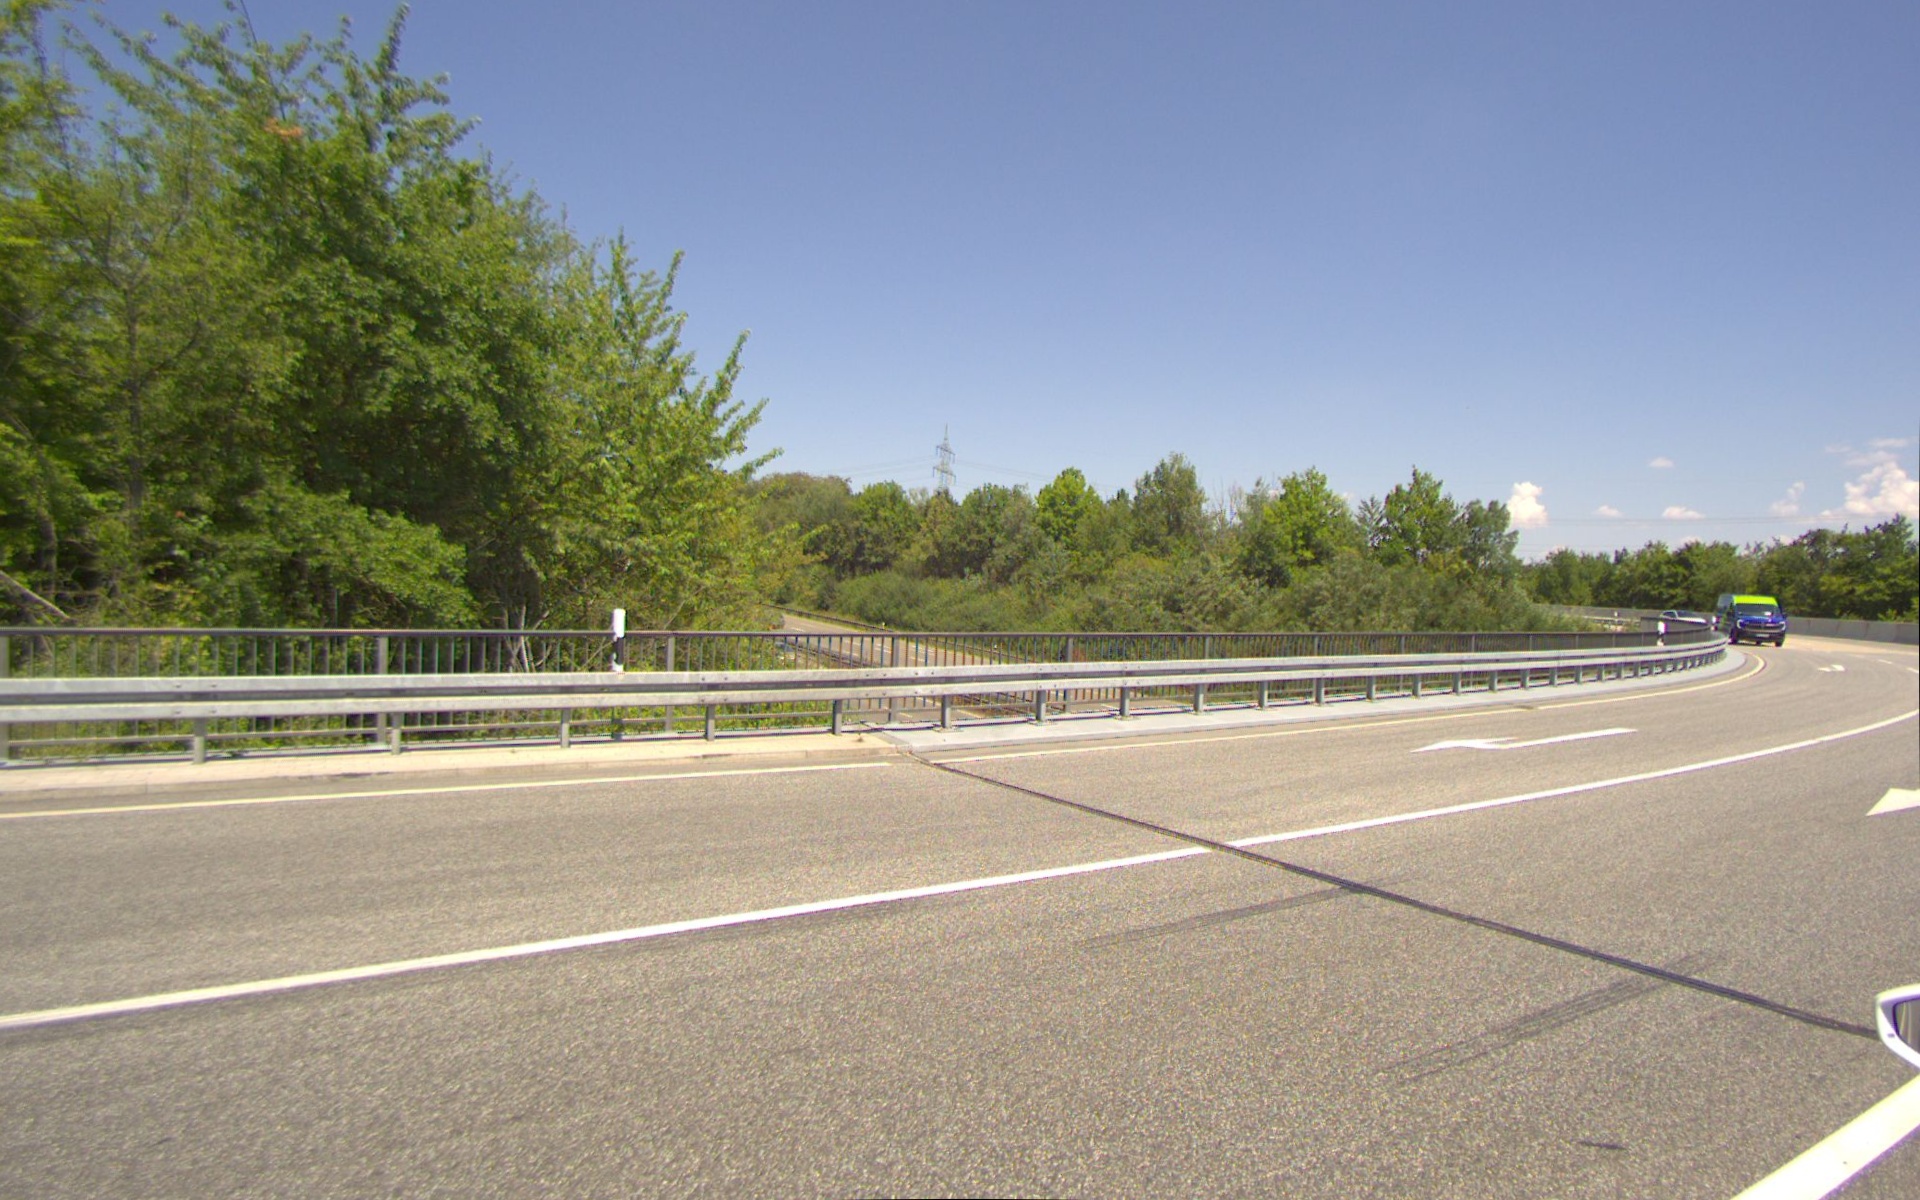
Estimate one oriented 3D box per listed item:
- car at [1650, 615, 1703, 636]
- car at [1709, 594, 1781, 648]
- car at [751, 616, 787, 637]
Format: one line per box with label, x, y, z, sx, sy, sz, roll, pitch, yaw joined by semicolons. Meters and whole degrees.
car;51.560;1.809;72.342;1.713;1.478;4.369;-1;-1;16
car;40.132;1.026;51.500;1.964;2.517;5.471;-2;0;29
car;-19.132;2.657;100.572;1.980;1.617;3.959;1;5;-35
